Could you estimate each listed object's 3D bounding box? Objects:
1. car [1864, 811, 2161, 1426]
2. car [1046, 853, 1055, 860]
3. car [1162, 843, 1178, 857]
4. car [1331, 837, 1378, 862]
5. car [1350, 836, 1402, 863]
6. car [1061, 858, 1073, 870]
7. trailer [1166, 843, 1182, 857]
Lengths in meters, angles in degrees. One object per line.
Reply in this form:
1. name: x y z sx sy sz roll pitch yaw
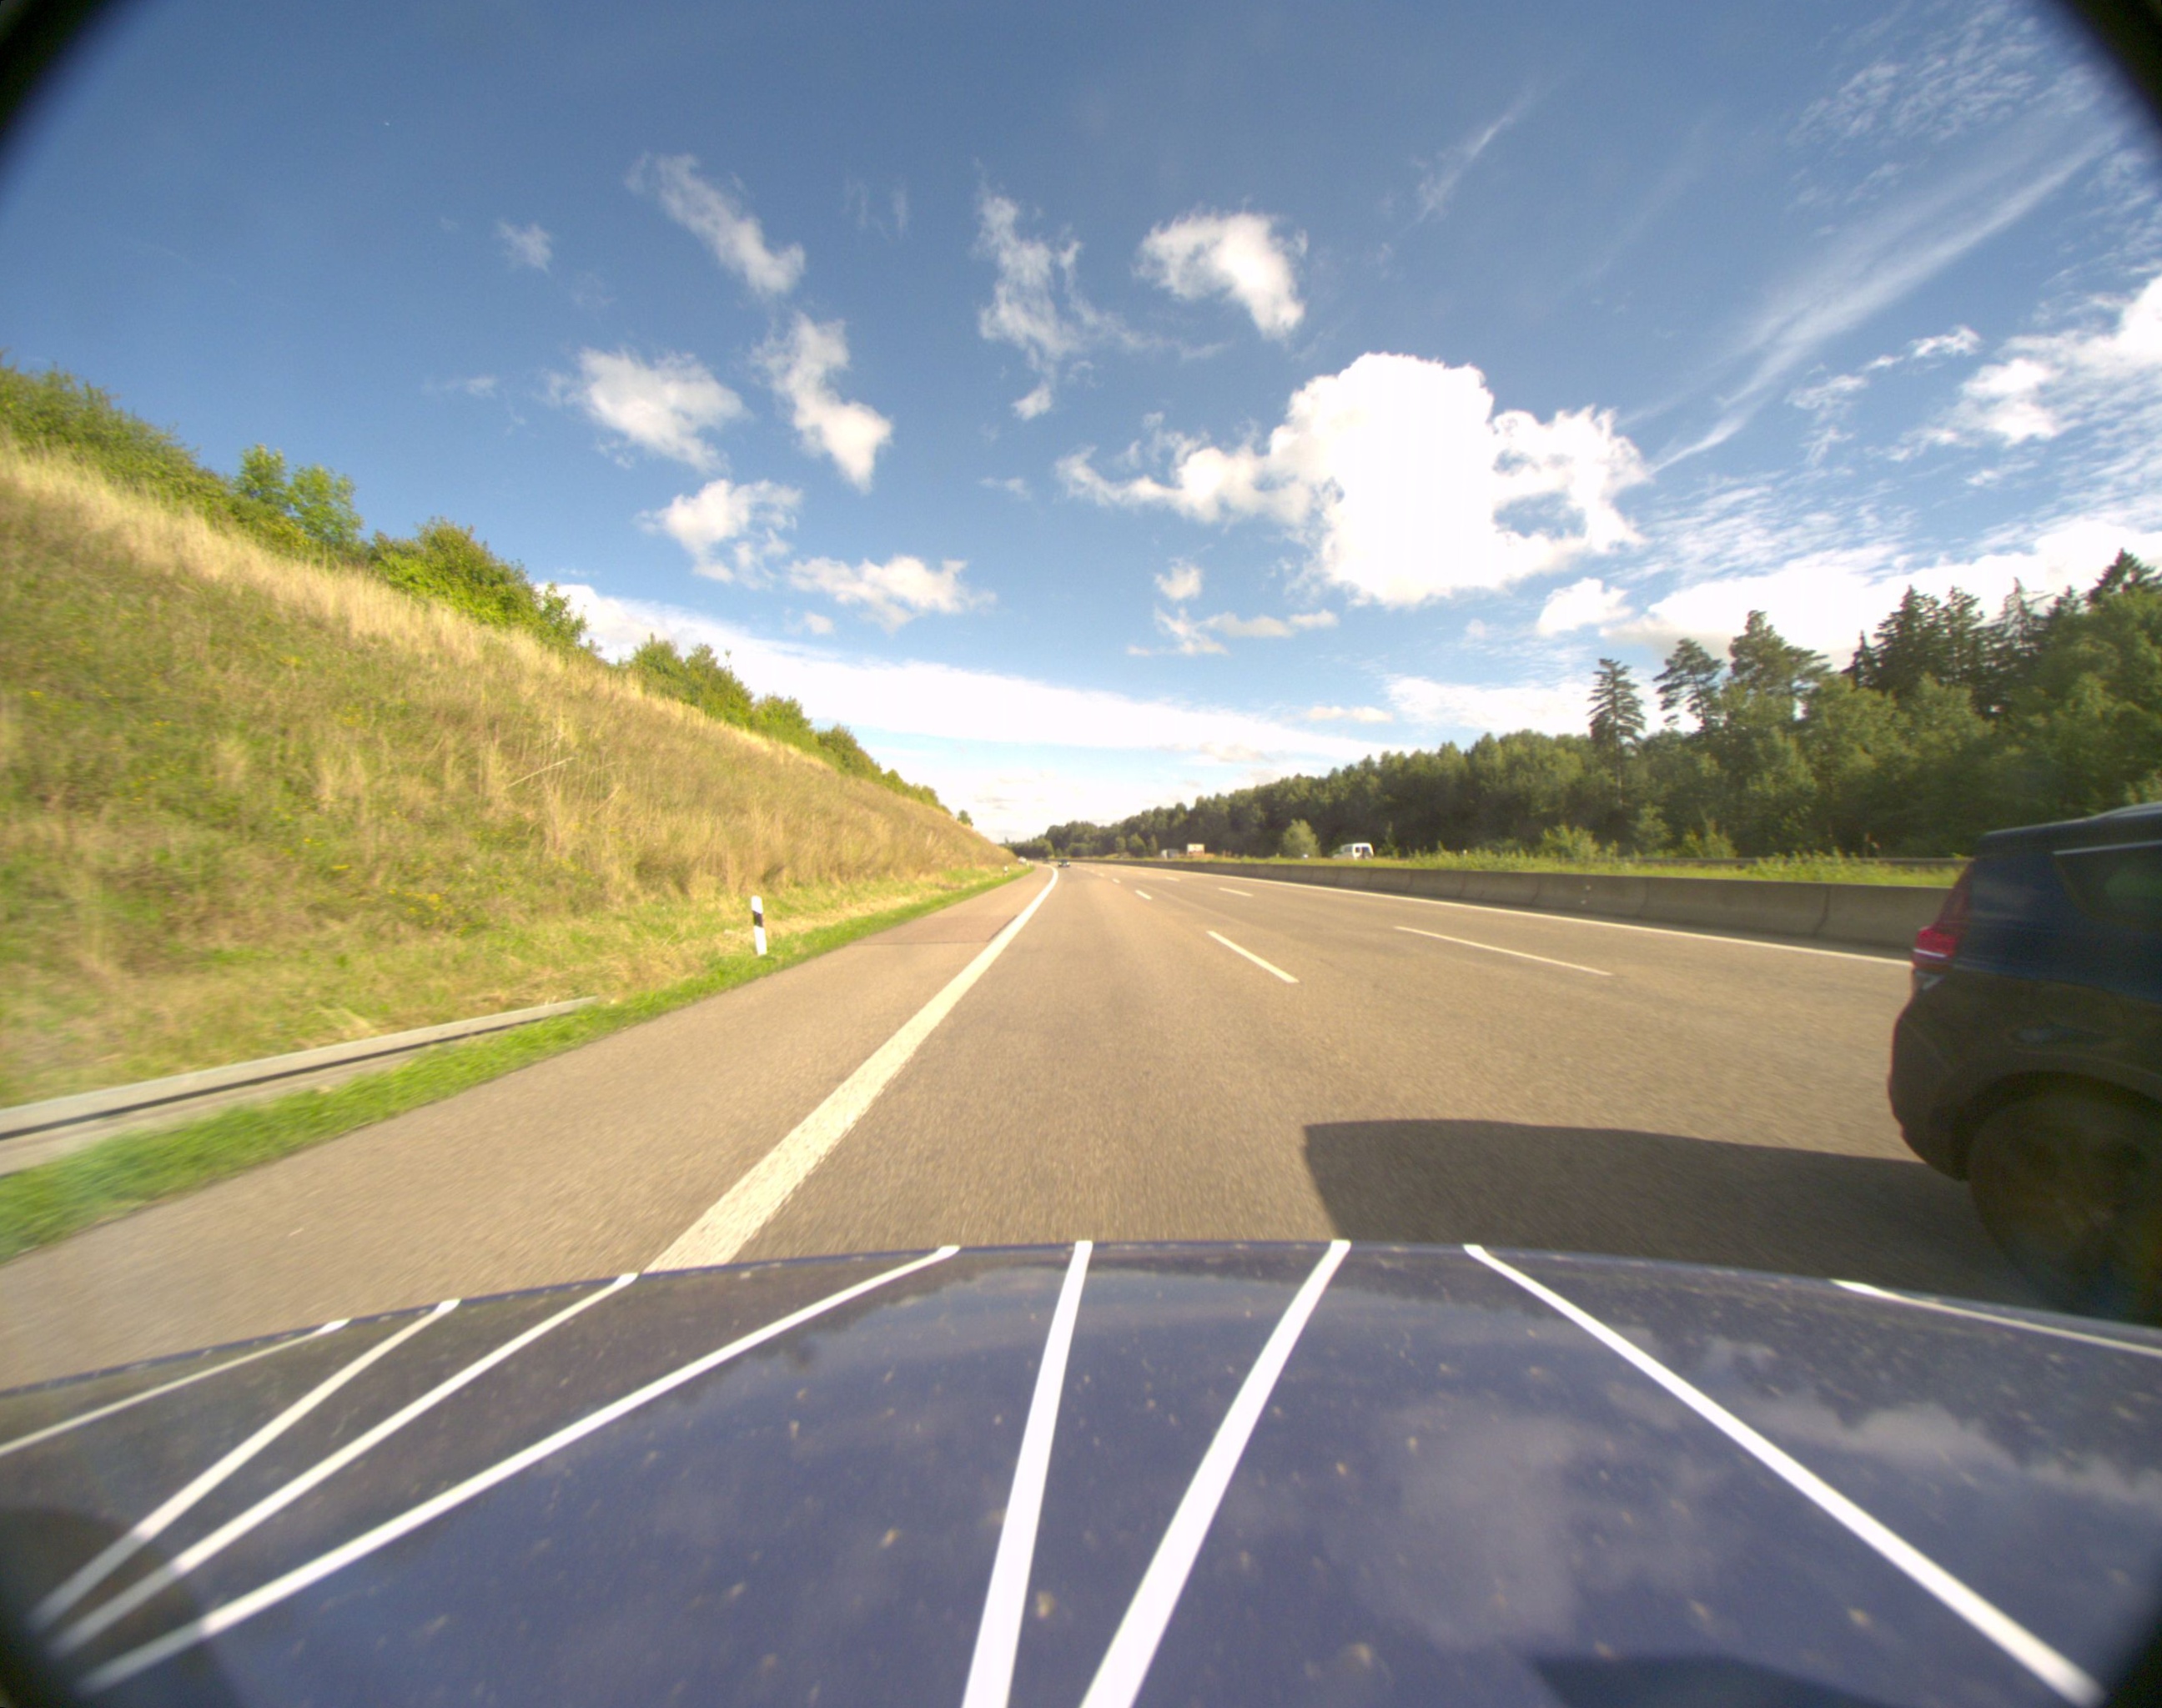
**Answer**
1. car: 3.912 0.715 0.601 1.998 1.697 4.529 -2 0 2
2. car: -8.502 0.735 213.053 2.000 2.002 3.997 -2 1 -7
3. car: 18.439 -0.862 157.441 2.276 2.668 5.887 -2 0 -3
4. car: 23.113 -0.360 64.417 1.998 2.002 5.386 -2 0 0
5. car: 23.104 -0.348 59.737 1.998 2.002 5.386 -2 0 0
6. car: -2.340 1.599 127.543 1.999 1.827 3.999 -2 1 0
7. trailer: 18.646 -0.844 152.819 2.276 2.668 5.561 -2 0 -3
